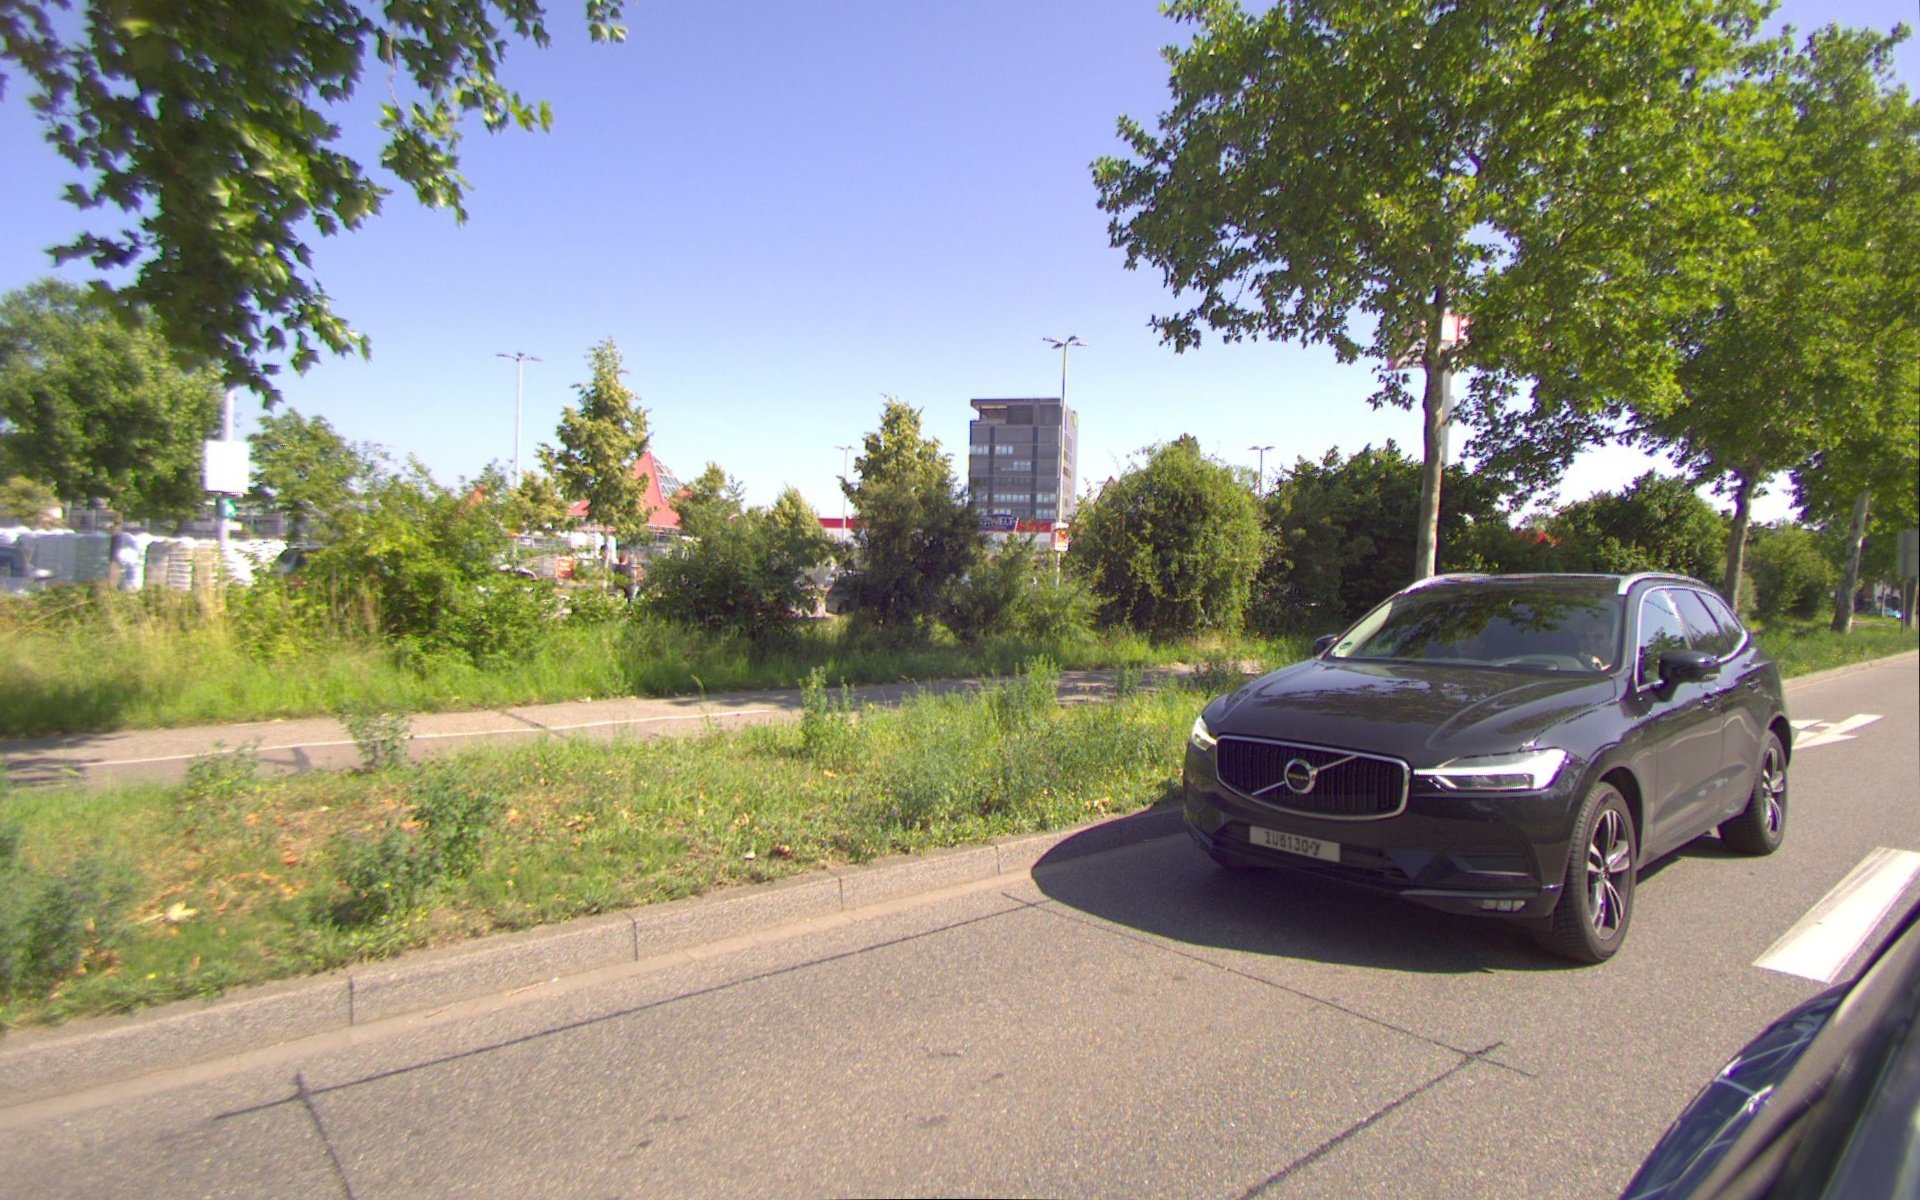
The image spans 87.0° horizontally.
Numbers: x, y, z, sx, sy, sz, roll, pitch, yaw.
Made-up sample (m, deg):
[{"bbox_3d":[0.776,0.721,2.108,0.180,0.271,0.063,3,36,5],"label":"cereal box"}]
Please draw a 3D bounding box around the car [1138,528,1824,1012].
[{"bbox_3d":[3.166,0.551,5.649,4.486,1.643,1.922,0,1,-42],"label":"car"}]

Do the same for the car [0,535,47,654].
[{"bbox_3d":[-15.304,-0.107,15.666,1.691,1.717,3.551,0,1,-43],"label":"car"}]

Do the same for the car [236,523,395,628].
[{"bbox_3d":[-11.811,-0.434,18.476,3.548,1.717,1.692,1,1,44],"label":"car"}]

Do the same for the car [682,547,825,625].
[{"bbox_3d":[-4.912,-0.334,23.761,1.658,1.691,3.828,0,1,-41],"label":"car"}]

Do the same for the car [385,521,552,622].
[{"bbox_3d":[-9.795,-0.545,20.042,3.987,1.794,1.725,1,1,44],"label":"car"}]
